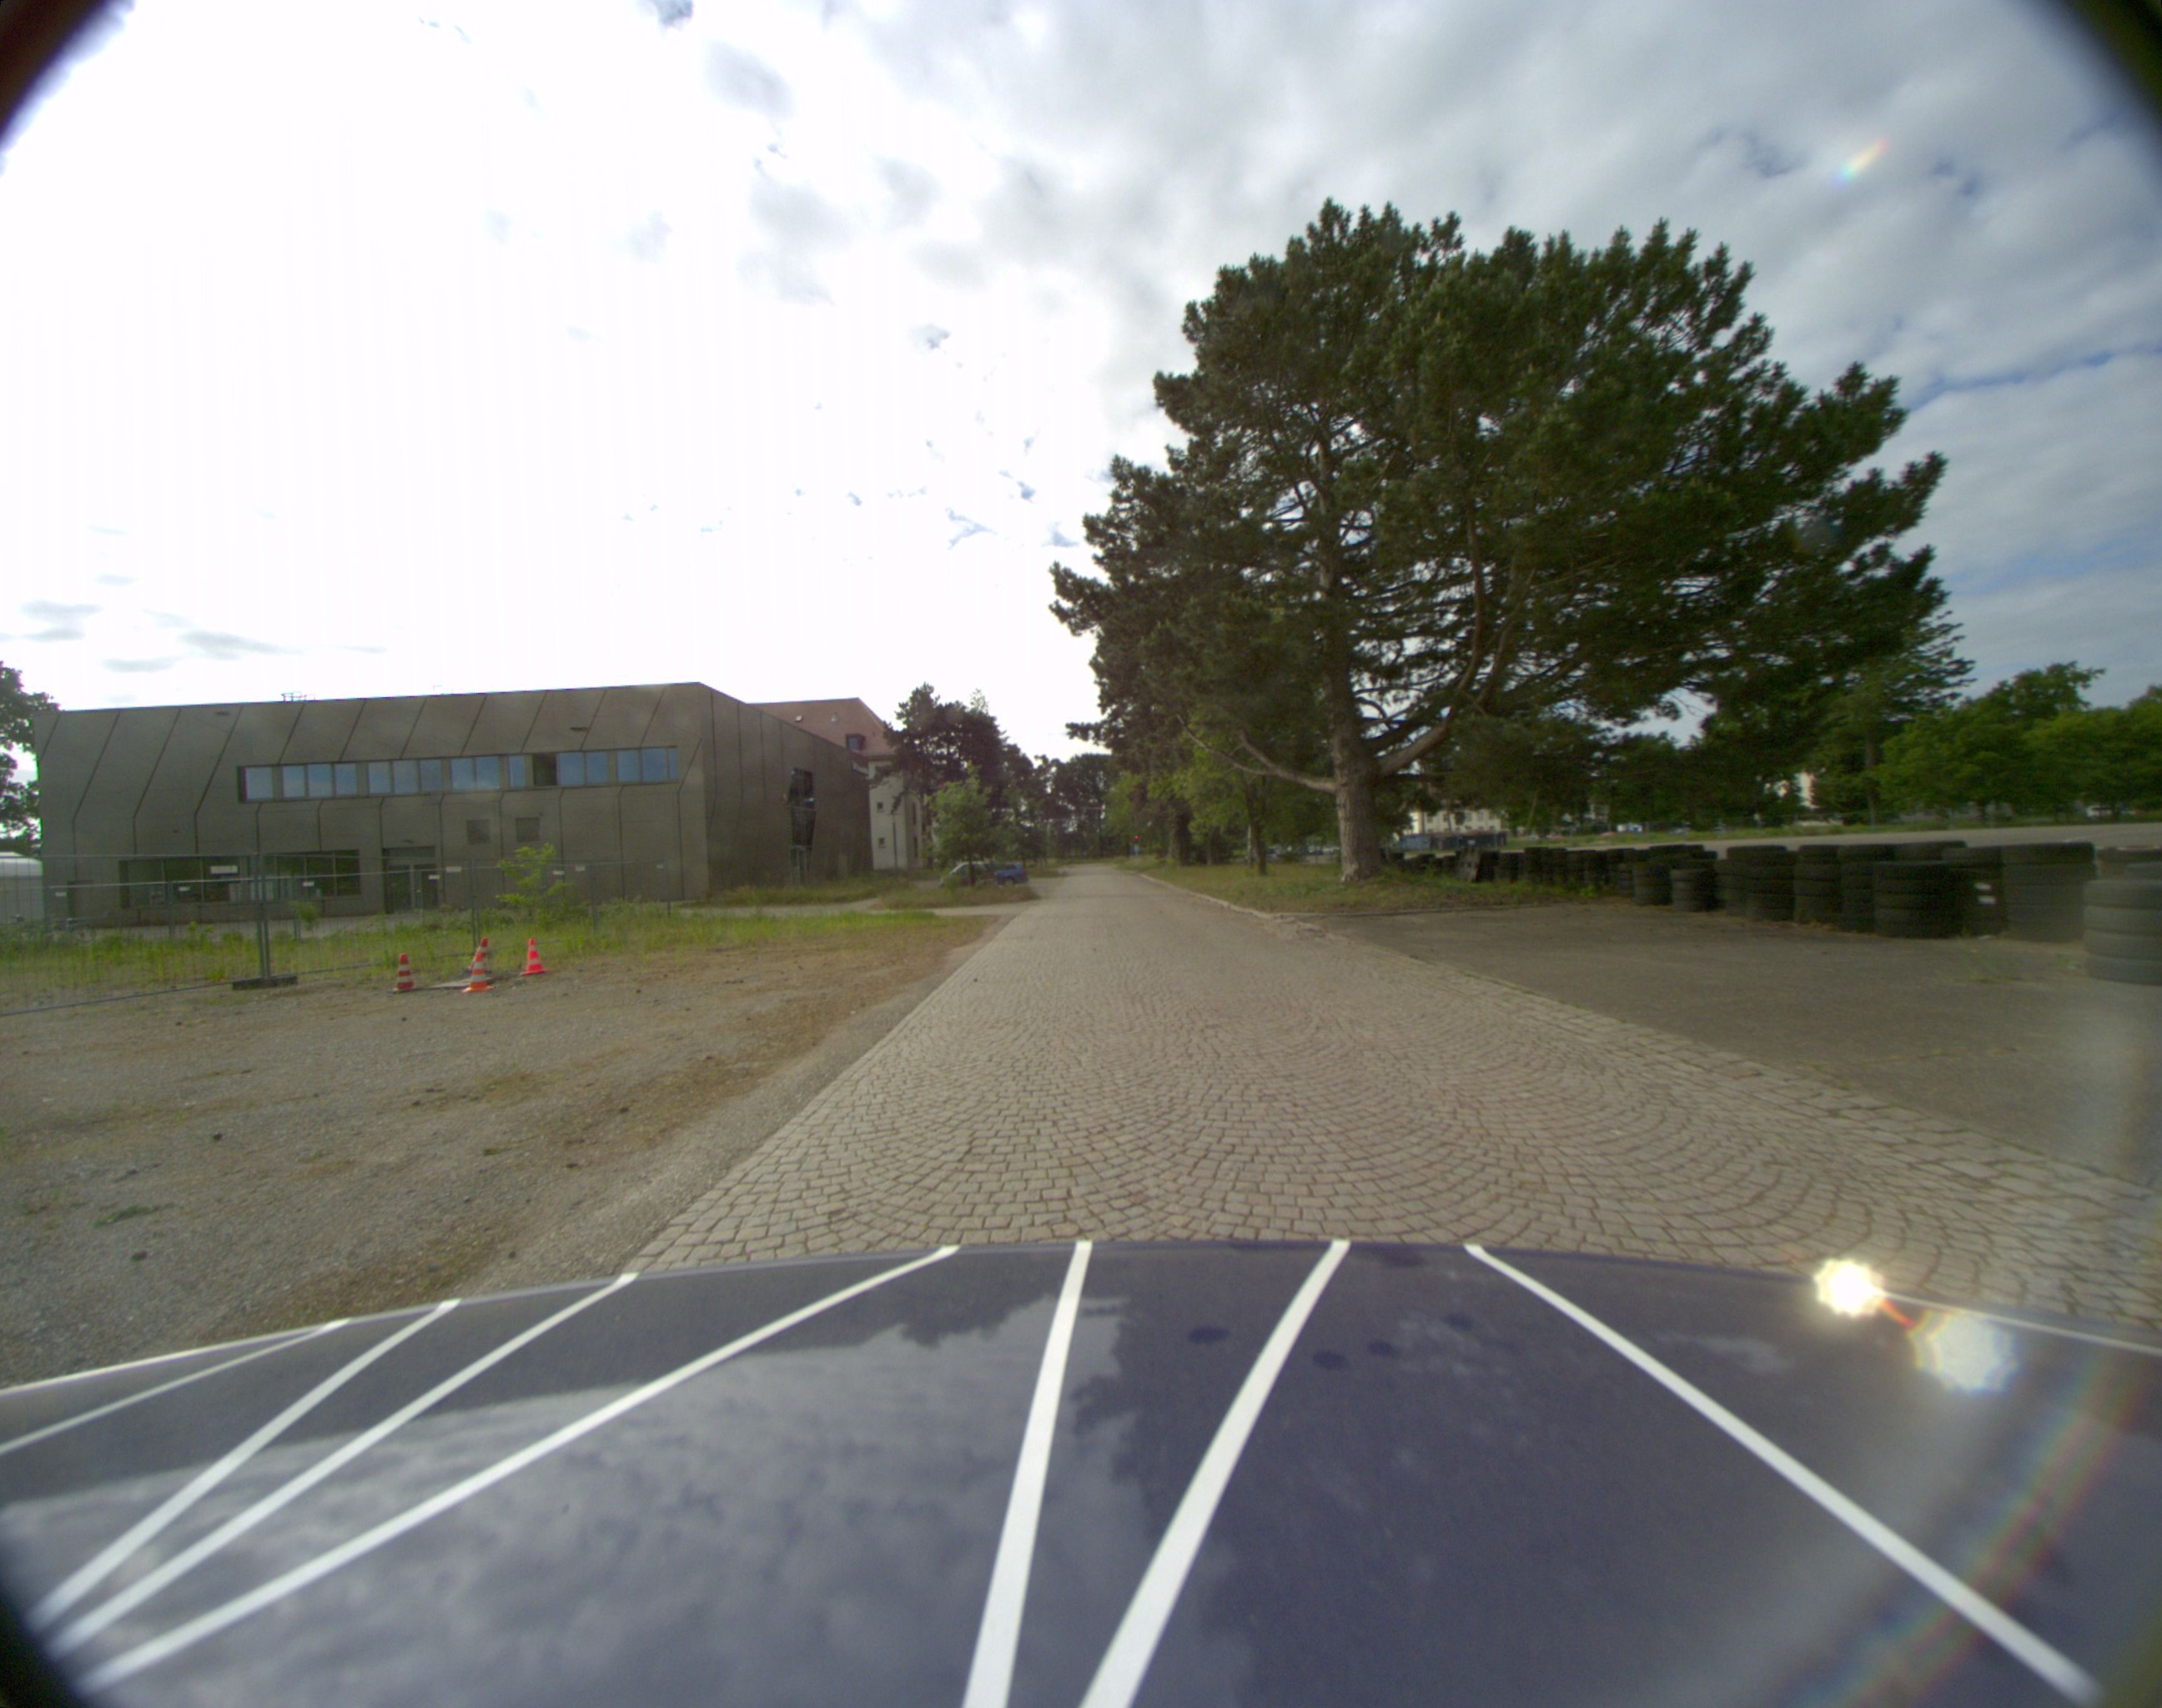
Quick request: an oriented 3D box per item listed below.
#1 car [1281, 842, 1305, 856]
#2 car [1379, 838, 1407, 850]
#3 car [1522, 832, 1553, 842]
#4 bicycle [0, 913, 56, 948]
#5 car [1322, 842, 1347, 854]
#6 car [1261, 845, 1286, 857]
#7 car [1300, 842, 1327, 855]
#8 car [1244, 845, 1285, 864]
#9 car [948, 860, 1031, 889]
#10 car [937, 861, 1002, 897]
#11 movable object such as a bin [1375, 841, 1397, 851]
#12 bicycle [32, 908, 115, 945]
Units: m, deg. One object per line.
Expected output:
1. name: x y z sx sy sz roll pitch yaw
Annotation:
1. car: 26.387 -0.559 94.536 1.674 1.510 3.899 -3 -2 -3
2. car: 43.545 -1.377 106.138 1.829 1.466 4.401 -3 0 -3
3. car: 63.527 -2.346 105.832 1.711 1.343 4.402 -3 0 0
4. bicycle: -37.276 2.683 26.551 0.511 1.079 1.658 -3 0 10
5. car: 31.830 -0.734 95.433 1.637 1.391 4.036 -3 0 -3
6. car: 23.888 -0.332 94.488 1.829 1.417 4.319 -3 0 -3
7. car: 29.034 -0.689 94.948 1.829 1.466 4.401 -3 0 -3
8. car: 13.728 0.045 57.086 1.829 1.408 4.420 0 0 -2
9. car: -5.095 1.130 42.716 4.503 1.466 1.830 -1 0 -2
10. car: -5.166 1.151 35.385 2.716 1.547 1.654 -1 0 2
11. movable object such as a bin: 33.038 -0.836 82.321 1.447 0.963 1.957 -3 0 -7
12. bicycle: -35.012 2.500 26.440 0.511 1.079 1.658 -3 0 10
